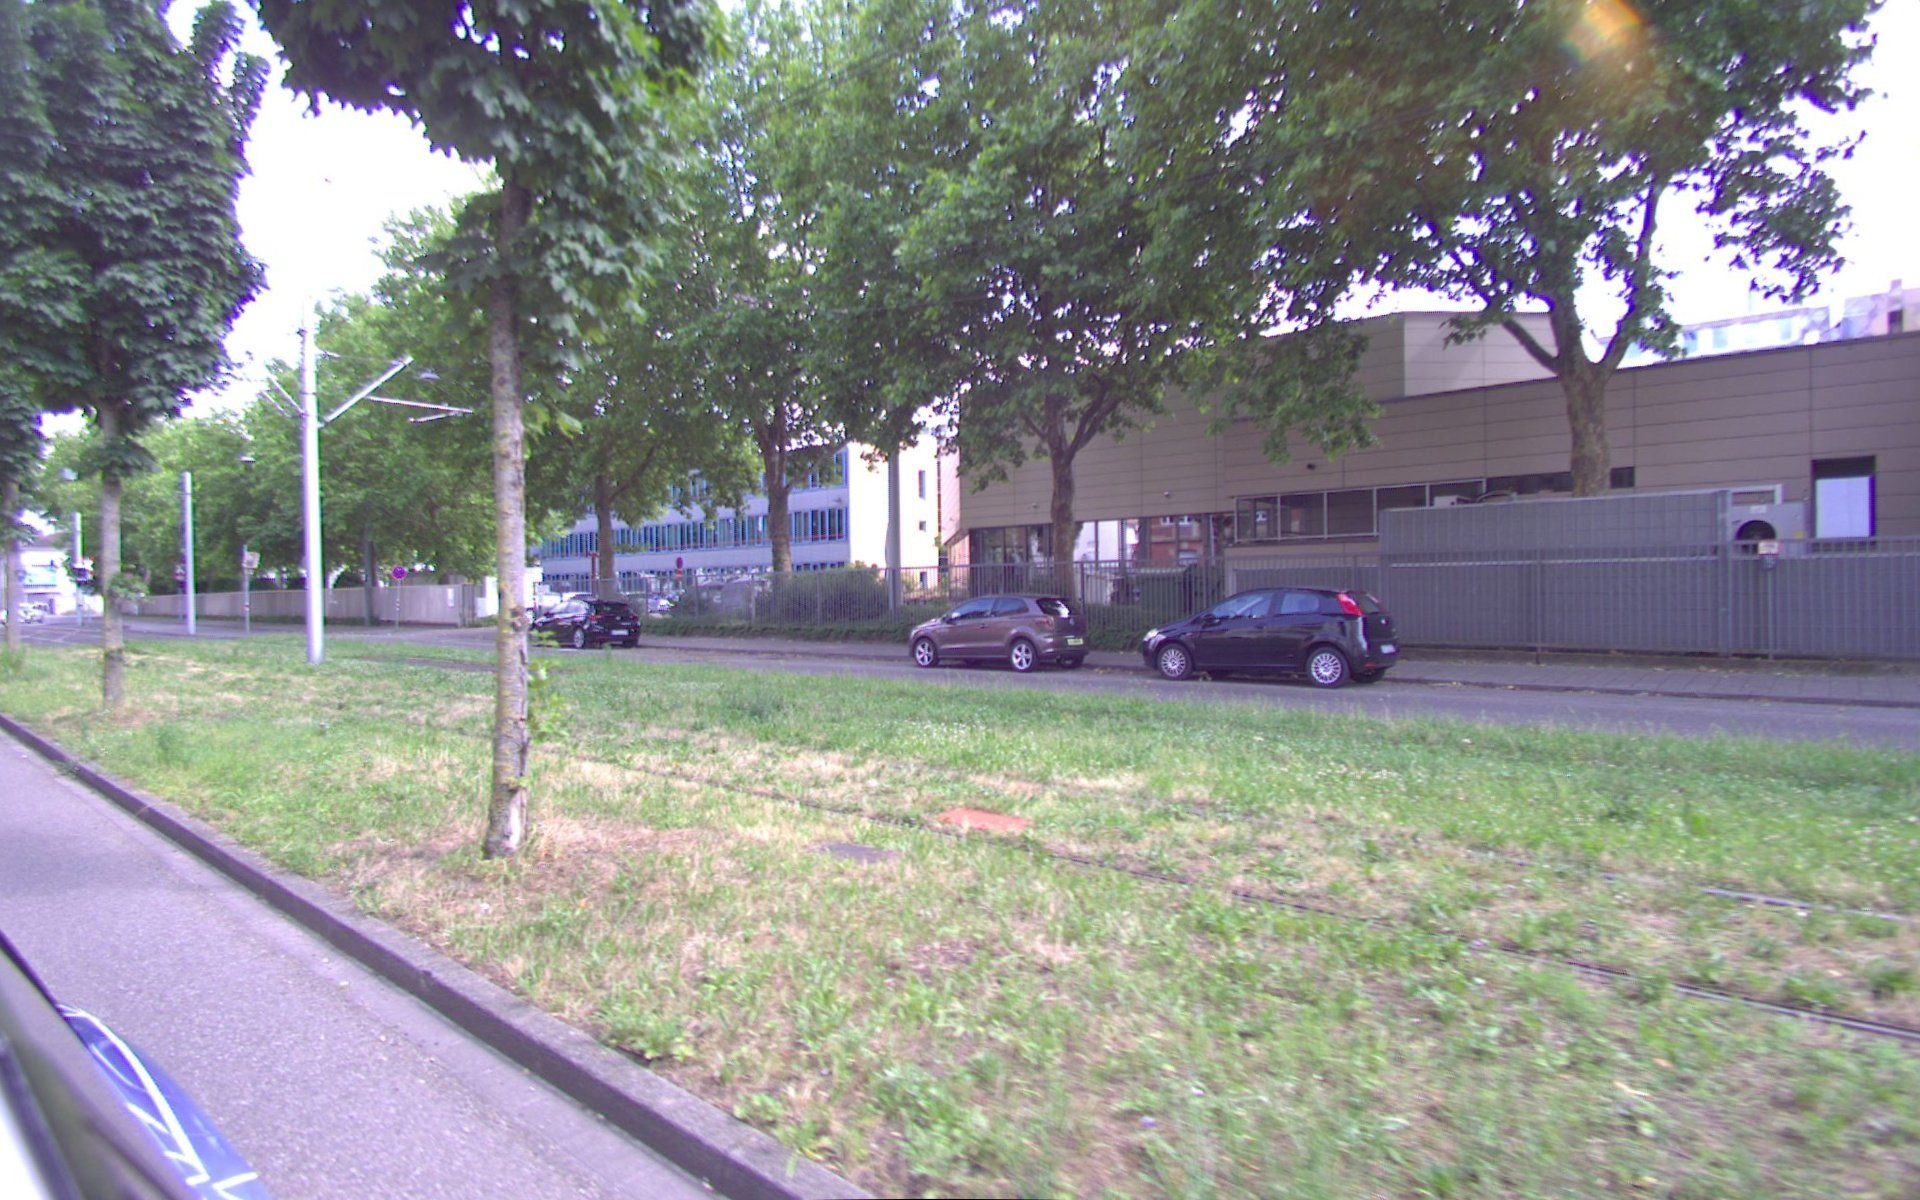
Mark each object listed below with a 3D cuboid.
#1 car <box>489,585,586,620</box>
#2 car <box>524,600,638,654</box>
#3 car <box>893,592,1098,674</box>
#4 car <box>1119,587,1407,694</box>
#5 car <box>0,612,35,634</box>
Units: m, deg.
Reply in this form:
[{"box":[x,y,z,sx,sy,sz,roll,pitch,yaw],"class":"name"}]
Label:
[{"box":[-20.777,0.109,49.849,1.998,1.630,3.947,0,0,40],"class":"car"},{"box":[-11.294,0.764,30.064,4.000,1.475,1.580,0,0,43],"class":"car"},{"box":[0.609,0.589,19.656,3.900,1.436,1.538,-1,0,42],"class":"car"},{"box":[4.675,0.555,15.978,4.002,1.464,1.782,0,0,45],"class":"car"},{"box":[-71.051,1.734,75.892,1.772,1.541,4.052,-2,1,-33],"class":"car"}]
